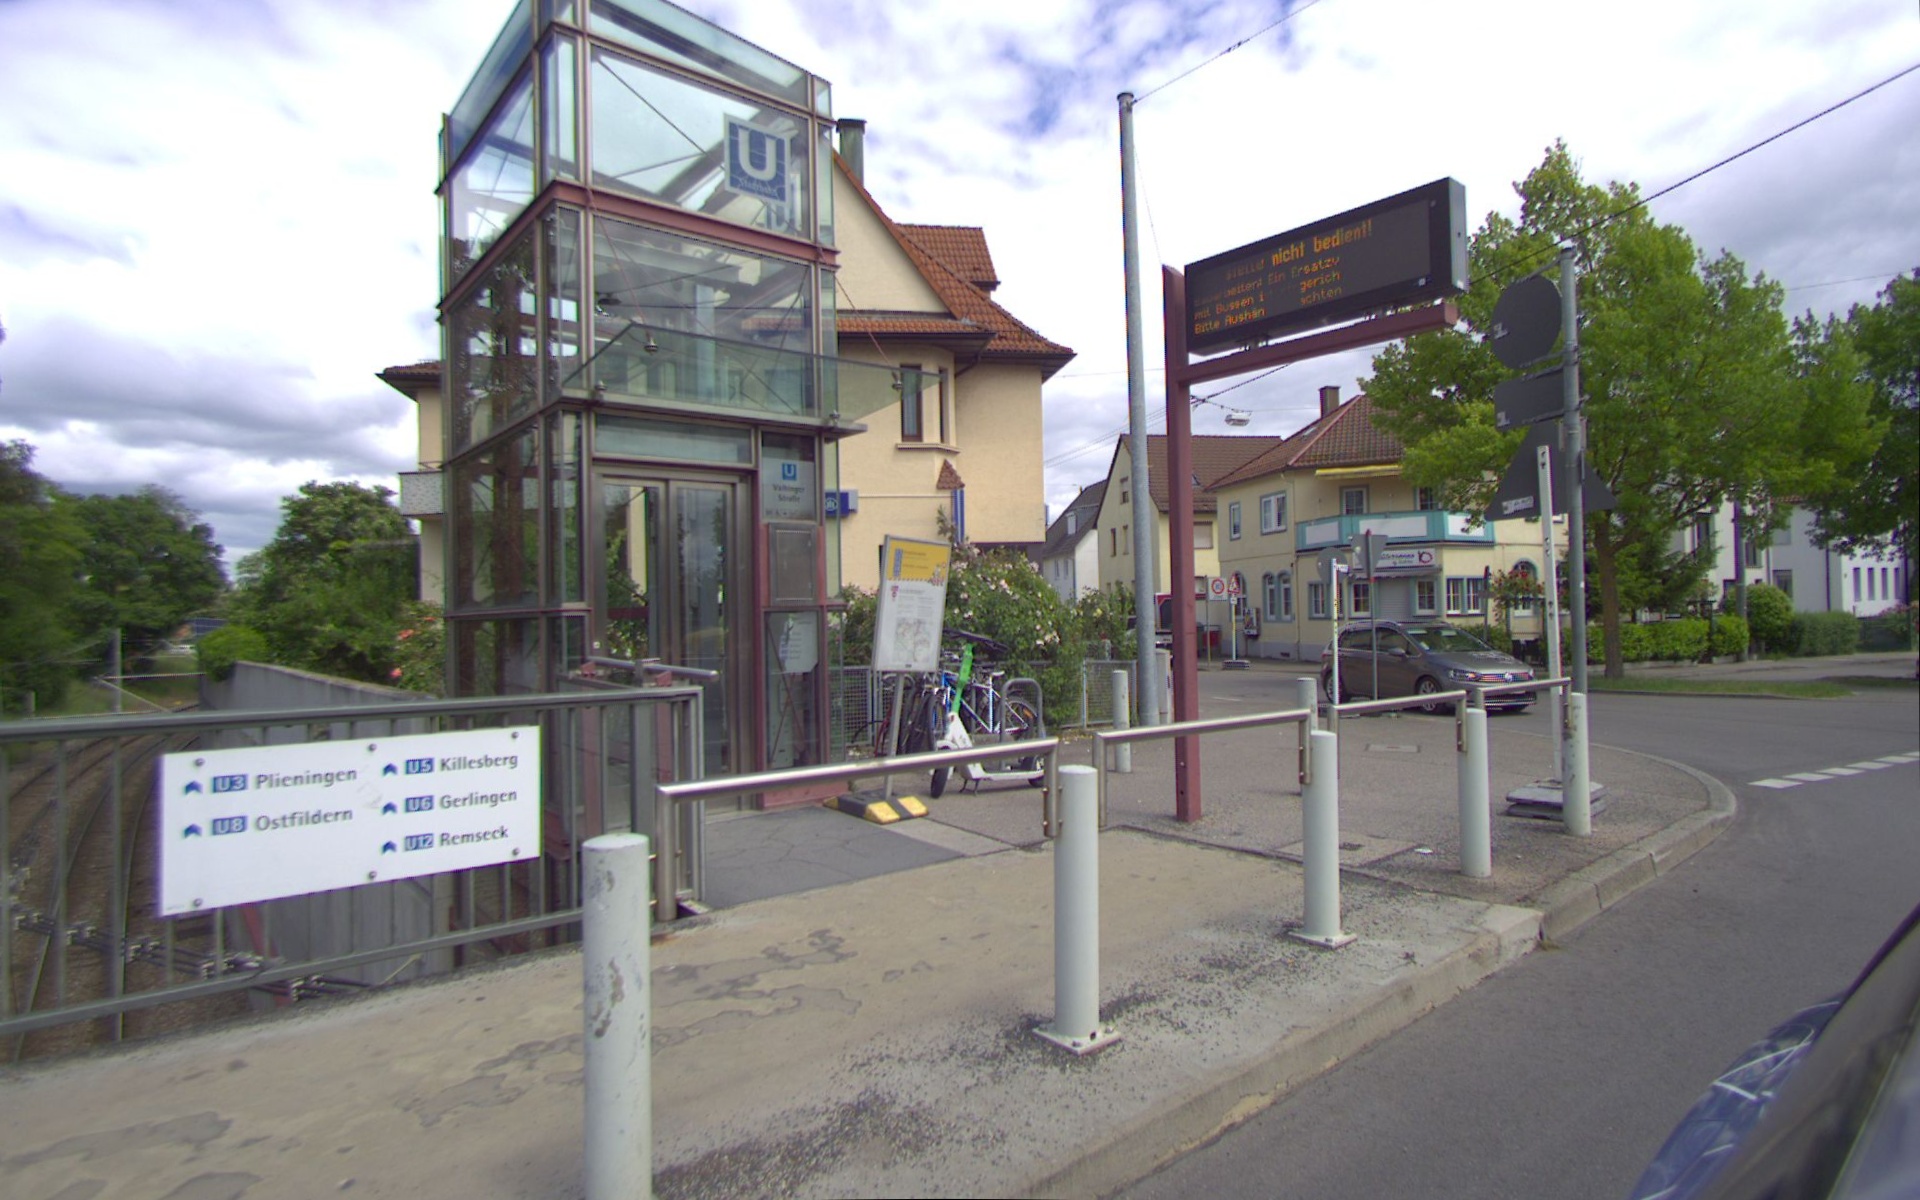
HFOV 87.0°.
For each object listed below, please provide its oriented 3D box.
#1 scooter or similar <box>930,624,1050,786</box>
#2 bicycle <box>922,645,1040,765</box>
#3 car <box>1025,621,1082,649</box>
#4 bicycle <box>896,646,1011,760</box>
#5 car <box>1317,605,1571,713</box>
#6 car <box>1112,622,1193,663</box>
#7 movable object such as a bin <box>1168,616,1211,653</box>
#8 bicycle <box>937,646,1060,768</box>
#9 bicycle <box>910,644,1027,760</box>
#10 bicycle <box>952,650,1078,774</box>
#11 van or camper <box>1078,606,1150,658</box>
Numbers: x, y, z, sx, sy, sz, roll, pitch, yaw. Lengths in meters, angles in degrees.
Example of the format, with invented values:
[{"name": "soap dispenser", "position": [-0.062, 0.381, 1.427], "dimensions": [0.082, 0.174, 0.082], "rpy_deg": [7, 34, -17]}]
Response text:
[{"name": "scooter or similar", "position": [0.234, 0.756, 7.458], "dimensions": [0.929, 1.126, 0.216], "rpy_deg": [4, -3, -39]}, {"name": "bicycle", "position": [0.207, 0.949, 9.383], "dimensions": [1.146, 1.026, 0.216], "rpy_deg": [0, -1, -30]}, {"name": "car", "position": [4.678, 1.743, 51.330], "dimensions": [1.959, 1.378, 3.882], "rpy_deg": [0, -1, -9]}, {"name": "bicycle", "position": [-0.054, 0.985, 9.886], "dimensions": [1.166, 1.021, 0.216], "rpy_deg": [0, -1, -30]}, {"name": "car", "position": [8.245, 0.978, 17.696], "dimensions": [1.830, 1.646, 4.006], "rpy_deg": [0, -2, -13]}, {"name": "car", "position": [6.988, 1.527, 37.175], "dimensions": [1.679, 1.395, 4.005], "rpy_deg": [0, -1, -8]}, {"name": "movable object such as a bin", "position": [9.535, 1.426, 42.103], "dimensions": [1.385, 1.510, 1.308], "rpy_deg": [0, -2, -7]}, {"name": "bicycle", "position": [0.361, 0.946, 9.165], "dimensions": [1.183, 1.014, 0.216], "rpy_deg": [0, -1, -30]}, {"name": "bicycle", "position": [0.089, 0.947, 9.623], "dimensions": [1.166, 1.021, 0.216], "rpy_deg": [0, -1, -30]}, {"name": "bicycle", "position": [0.496, 0.960, 8.916], "dimensions": [1.180, 1.001, 0.216], "rpy_deg": [0, -1, -30]}, {"name": "van or camper", "position": [6.338, 1.305, 42.114], "dimensions": [1.815, 2.025, 4.096], "rpy_deg": [0, -1, -8]}]
